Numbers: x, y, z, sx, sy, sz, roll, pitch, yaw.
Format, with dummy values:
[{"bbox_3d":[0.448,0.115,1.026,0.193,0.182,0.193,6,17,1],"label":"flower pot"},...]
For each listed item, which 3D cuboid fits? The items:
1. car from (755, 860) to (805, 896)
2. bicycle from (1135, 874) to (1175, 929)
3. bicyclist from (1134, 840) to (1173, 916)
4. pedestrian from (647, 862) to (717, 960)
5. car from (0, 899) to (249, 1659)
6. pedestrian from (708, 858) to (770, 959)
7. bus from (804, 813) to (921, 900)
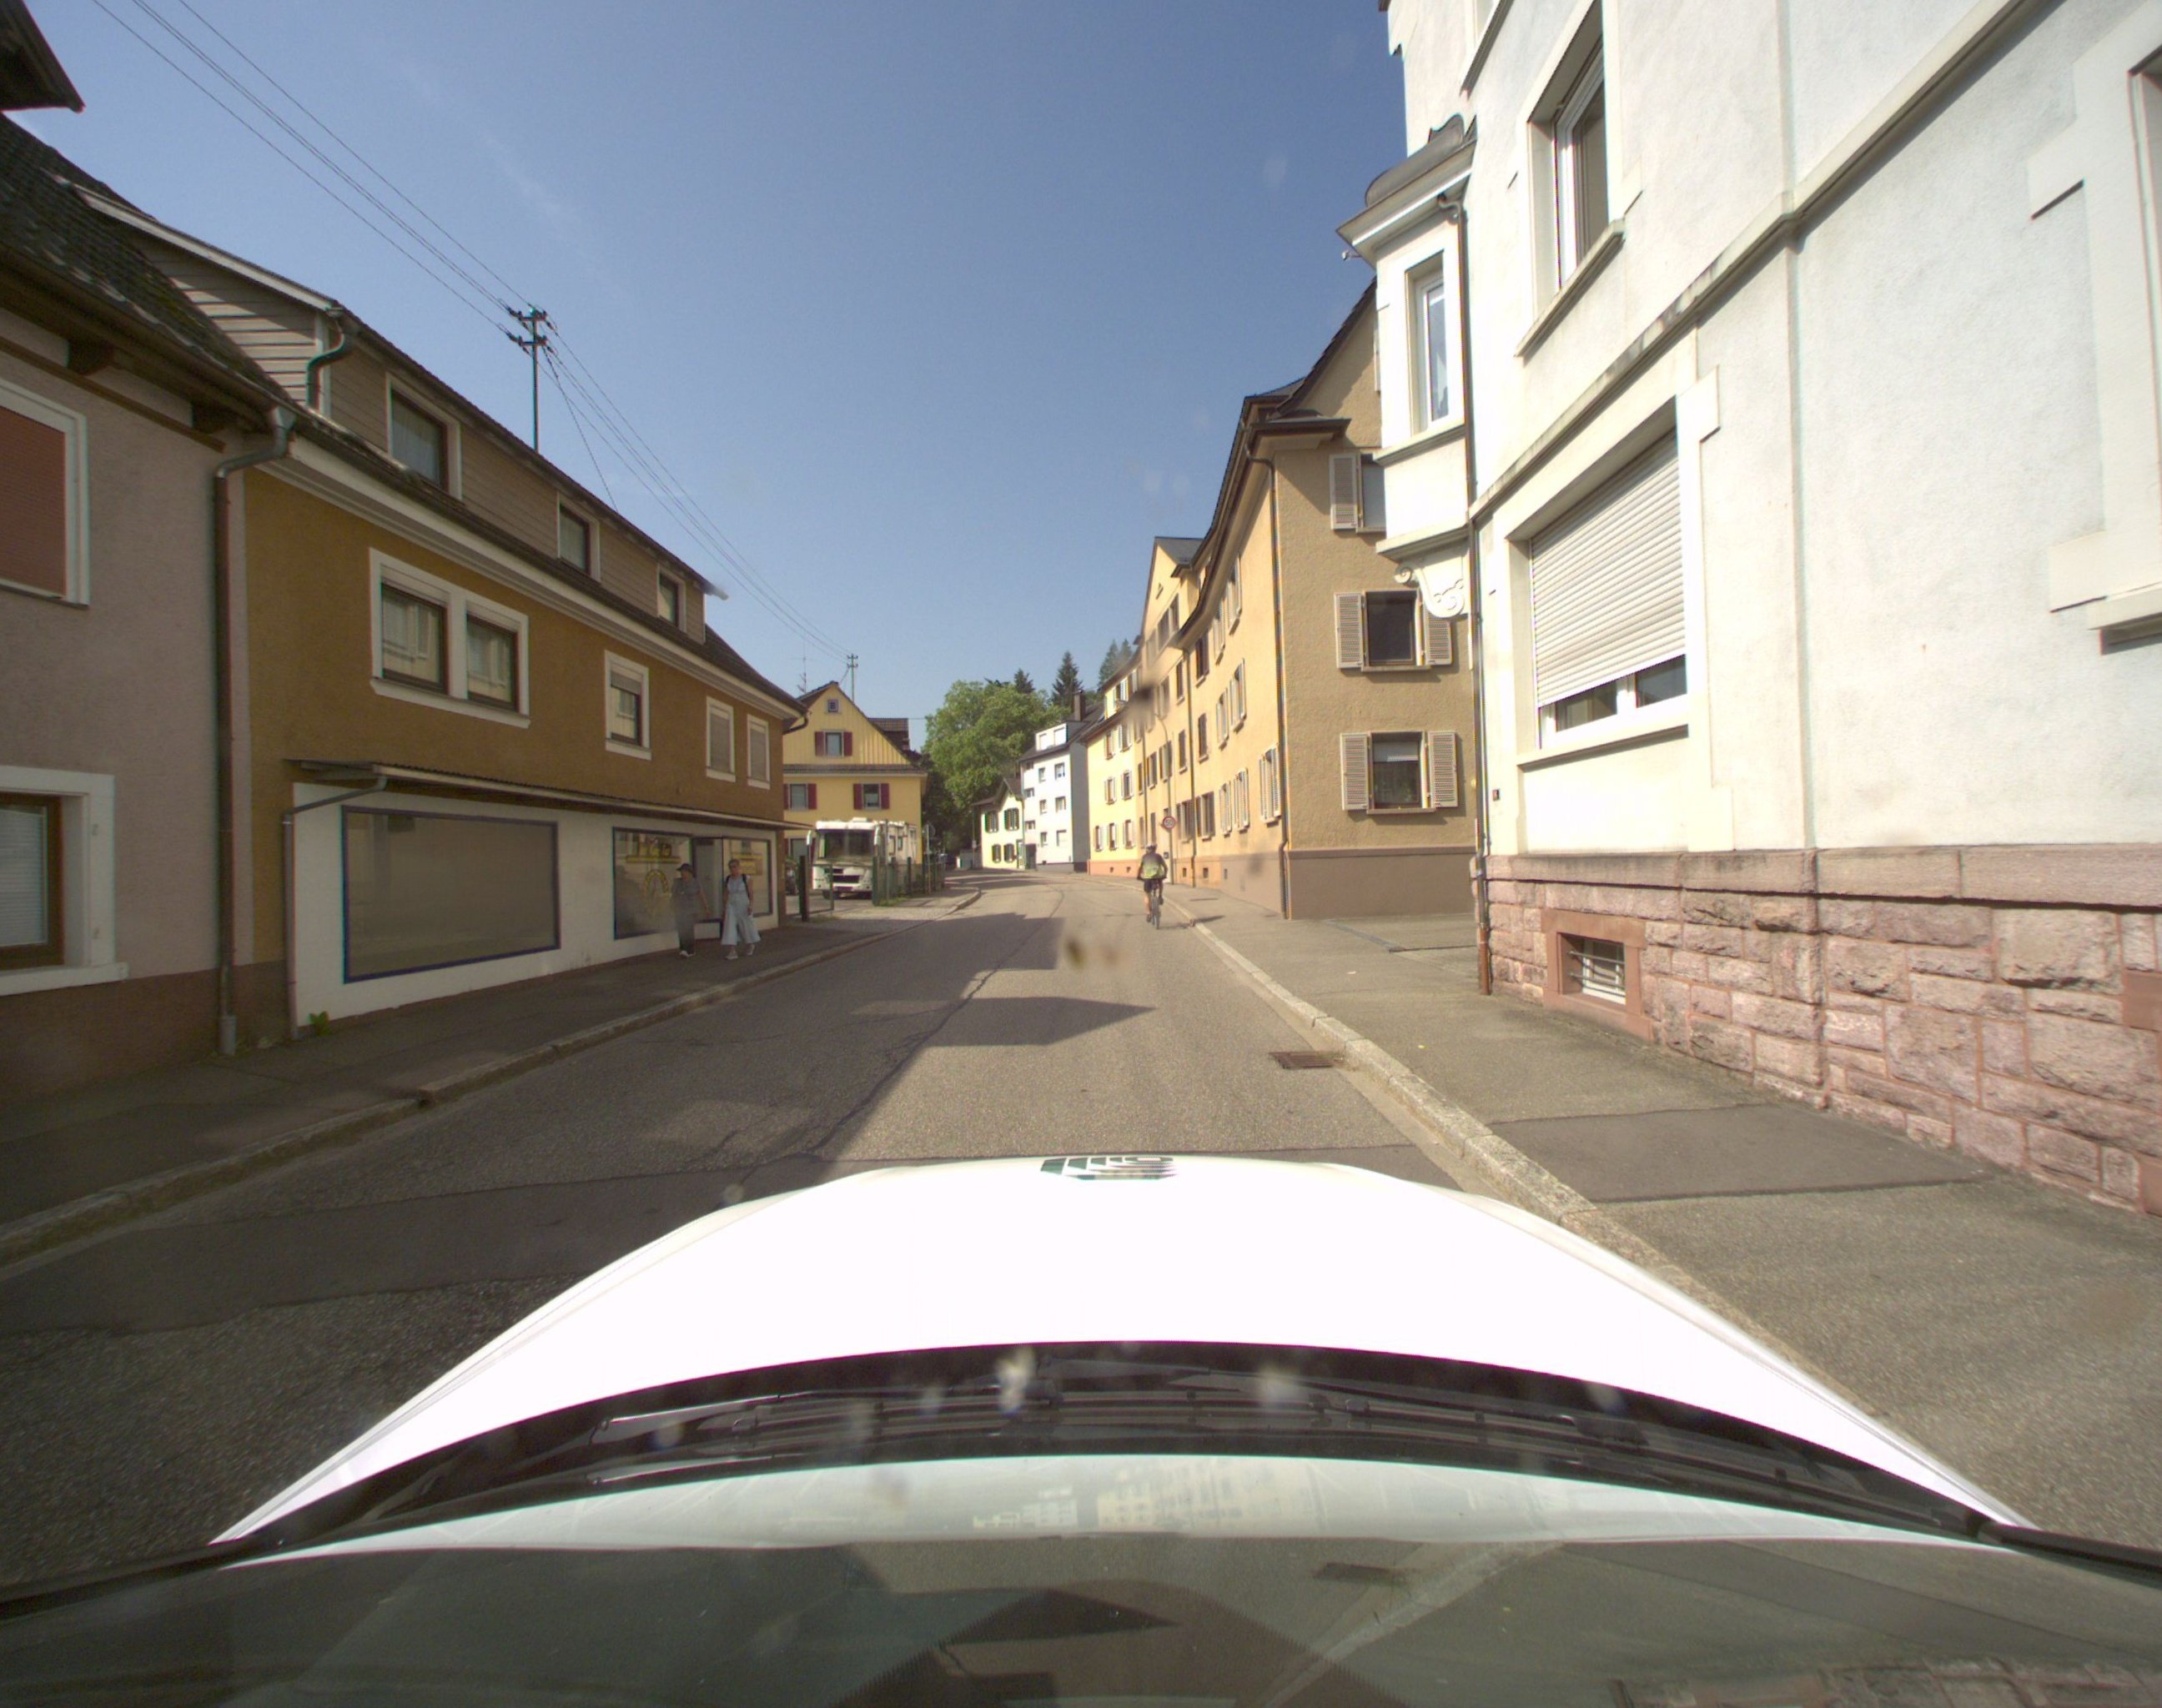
[{"bbox_3d":[-12.786,1.001,34.785,1.770,1.432,3.976,0,-1,-17],"label":"car"},{"bbox_3d":[1.536,0.971,17.100,0.696,1.035,1.471,-1,0,0],"label":"bicycle"},{"bbox_3d":[1.506,0.499,17.045,0.683,1.531,0.715,-3,-1,-1],"label":"bicyclist"},{"bbox_3d":[-6.621,0.923,13.558,0.732,1.564,0.825,0,0,1],"label":"pedestrian"},{"bbox_3d":[-3.000,0.907,0.237,1.591,1.464,3.661,-5,0,1],"label":"car"},{"bbox_3d":[-5.677,0.880,13.559,0.637,1.626,0.777,1,0,1],"label":"pedestrian"},{"bbox_3d":[-9.059,0.091,34.981,2.813,3.228,9.029,0,0,-2],"label":"bus"}]
